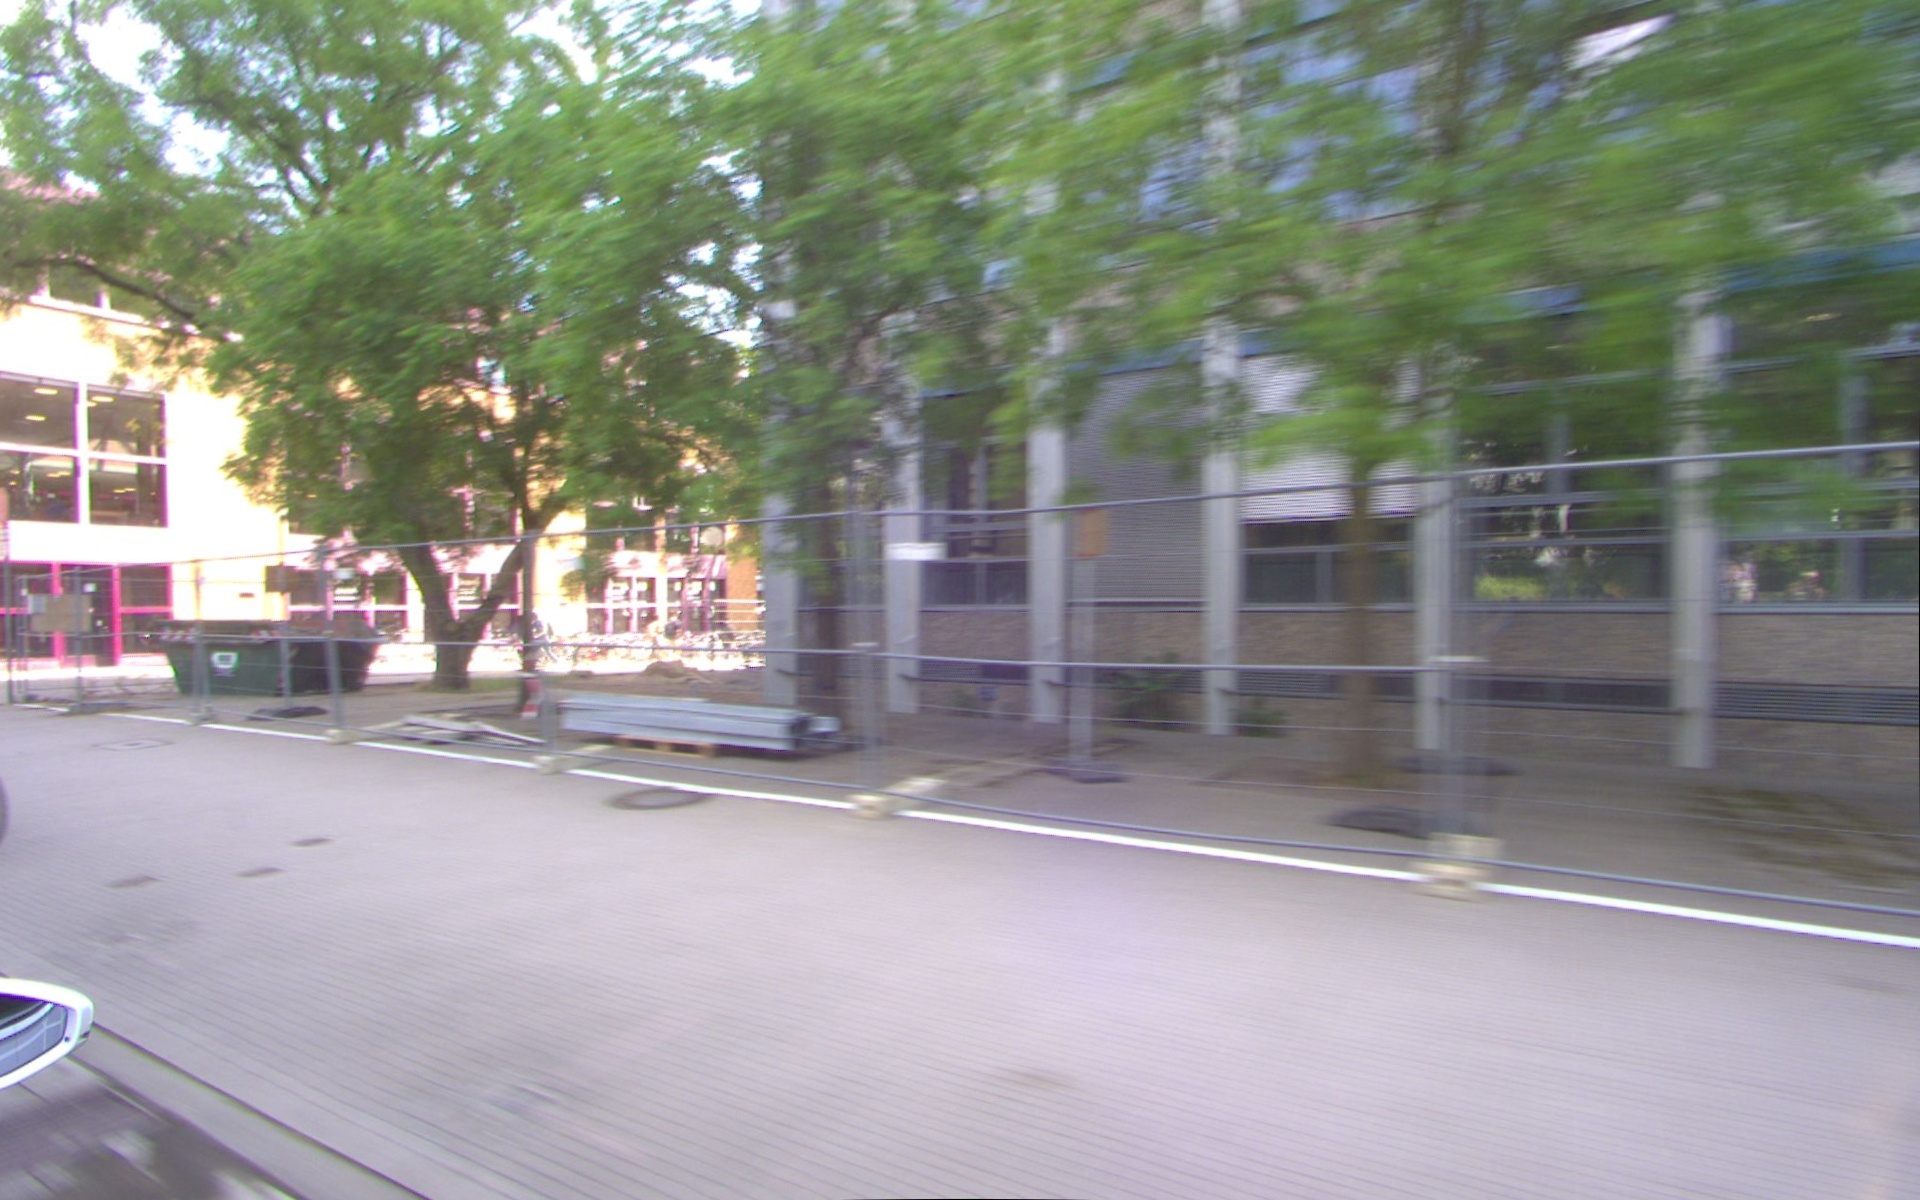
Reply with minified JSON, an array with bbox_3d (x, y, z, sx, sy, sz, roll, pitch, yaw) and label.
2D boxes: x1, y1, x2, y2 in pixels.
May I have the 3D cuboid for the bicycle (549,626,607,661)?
[{"bbox_3d":[-13.145,1.500,34.493,0.467,1.184,1.994,0,-2,31],"label":"bicycle"}]

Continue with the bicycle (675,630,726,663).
[{"bbox_3d":[-9.550,1.705,36.896,0.537,1.184,1.994,0,-2,31],"label":"bicycle"}]

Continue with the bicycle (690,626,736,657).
[{"bbox_3d":[-9.799,1.651,39.790,0.537,1.184,1.994,0,-2,31],"label":"bicycle"}]

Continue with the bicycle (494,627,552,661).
[{"bbox_3d":[-15.659,1.560,35.915,0.467,1.184,1.994,0,-2,30],"label":"bicycle"}]

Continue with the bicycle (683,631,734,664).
[{"bbox_3d":[-9.142,1.723,36.426,0.537,1.184,1.994,0,-2,31],"label":"bicycle"}]

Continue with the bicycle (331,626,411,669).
[{"bbox_3d":[-15.839,1.264,26.983,0.517,1.124,1.804,0,-1,35],"label":"bicycle"}]

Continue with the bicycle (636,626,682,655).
[{"bbox_3d":[-12.406,1.667,41.328,0.537,1.184,1.994,0,-2,31],"label":"bicycle"}]

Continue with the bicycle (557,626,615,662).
[{"bbox_3d":[-12.713,1.490,34.117,0.467,1.184,1.994,0,-2,31],"label":"bicycle"}]

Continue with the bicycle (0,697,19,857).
[{"bbox_3d":[-6.568,1.084,6.359,1.707,0.949,0.394,0,2,32],"label":"bicycle"}]

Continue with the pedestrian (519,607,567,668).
[{"bbox_3d":[-11.828,1.051,28.400,0.695,1.672,1.040,-1,-1,39],"label":"pedestrian"}]

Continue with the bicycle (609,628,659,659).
[{"bbox_3d":[-12.739,1.682,39.192,0.537,1.184,1.994,0,-2,31],"label":"bicycle"}]

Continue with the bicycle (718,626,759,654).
[{"bbox_3d":[-9.664,1.743,43.818,0.537,1.184,1.994,0,-2,31],"label":"bicycle"}]

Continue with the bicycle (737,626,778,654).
[{"bbox_3d":[-8.727,1.733,43.325,0.537,1.184,1.994,0,-2,31],"label":"bicycle"}]

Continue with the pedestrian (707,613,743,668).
[{"bbox_3d":[-7.751,1.318,32.993,0.674,1.750,0.901,-3,-1,27],"label":"pedestrian"}]

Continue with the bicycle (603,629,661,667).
[{"bbox_3d":[-10.823,1.574,33.071,0.467,1.184,1.994,0,-2,31],"label":"bicycle"}]

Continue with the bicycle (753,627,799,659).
[{"bbox_3d":[-7.047,1.645,38.384,0.537,1.184,1.994,0,-2,31],"label":"bicycle"}]

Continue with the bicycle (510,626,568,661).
[{"bbox_3d":[-14.853,1.534,35.398,0.467,1.184,1.994,0,-2,30],"label":"bicycle"}]

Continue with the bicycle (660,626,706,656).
[{"bbox_3d":[-11.315,1.668,40.927,0.537,1.184,1.994,0,-2,31],"label":"bicycle"}]

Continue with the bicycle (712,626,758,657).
[{"bbox_3d":[-8.842,1.641,39.439,0.537,1.184,1.994,0,-2,31],"label":"bicycle"}]

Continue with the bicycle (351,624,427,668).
[{"bbox_3d":[-14.970,1.192,26.284,0.468,1.124,1.689,0,-1,35],"label":"bicycle"}]

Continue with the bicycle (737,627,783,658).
[{"bbox_3d":[-7.693,1.636,38.643,0.537,1.184,1.994,0,-2,31],"label":"bicycle"}]

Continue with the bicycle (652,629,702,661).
[{"bbox_3d":[-10.678,1.686,37.852,0.537,1.184,1.994,0,-2,31],"label":"bicycle"}]

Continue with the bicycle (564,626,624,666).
[{"bbox_3d":[-11.352,1.415,31.085,0.468,1.184,1.801,0,-2,35],"label":"bicycle"}]

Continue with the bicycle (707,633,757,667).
[{"bbox_3d":[-8.283,1.812,36.448,0.537,1.184,1.994,0,-2,31],"label":"bicycle"}]

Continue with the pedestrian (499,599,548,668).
[{"bbox_3d":[-11.392,0.860,26.136,0.674,1.750,0.901,-3,-1,27],"label":"pedestrian"}]

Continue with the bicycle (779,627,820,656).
[{"bbox_3d":[-6.680,1.712,41.787,0.537,1.184,1.994,0,-2,31],"label":"bicycle"}]

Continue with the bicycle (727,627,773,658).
[{"bbox_3d":[-8.162,1.645,38.967,0.537,1.184,1.994,0,-2,31],"label":"bicycle"}]

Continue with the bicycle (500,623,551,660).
[{"bbox_3d":[-14.143,1.352,32.647,0.465,1.184,1.810,0,-2,15],"label":"bicycle"}]

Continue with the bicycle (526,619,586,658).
[{"bbox_3d":[-12.584,1.199,31.261,0.467,1.184,1.803,0,-2,32],"label":"bicycle"}]

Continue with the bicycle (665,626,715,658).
[{"bbox_3d":[-10.114,1.568,37.555,0.537,1.184,1.994,0,-2,31],"label":"bicycle"}]

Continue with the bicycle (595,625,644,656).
[{"bbox_3d":[-13.473,1.613,39.643,0.537,1.184,1.995,0,-2,28],"label":"bicycle"}]

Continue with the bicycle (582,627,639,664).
[{"bbox_3d":[-11.720,1.524,33.639,0.467,1.184,1.994,0,-2,31],"label":"bicycle"}]

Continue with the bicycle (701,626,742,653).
[{"bbox_3d":[-10.568,1.757,44.503,0.537,1.184,1.994,0,-2,31],"label":"bicycle"}]

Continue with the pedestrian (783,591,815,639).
[{"bbox_3d":[-6.014,0.544,37.516,0.677,1.750,0.897,-3,-1,42],"label":"pedestrian"}]

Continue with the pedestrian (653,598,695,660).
[{"bbox_3d":[-8.278,0.846,28.993,0.674,1.750,0.901,-3,-1,27],"label":"pedestrian"}]

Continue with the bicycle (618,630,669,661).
[{"bbox_3d":[-12.196,1.742,38.635,0.537,1.184,1.994,0,-2,31],"label":"bicycle"}]

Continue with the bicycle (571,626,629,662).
[{"bbox_3d":[-12.187,1.482,33.982,0.467,1.184,1.994,0,-2,31],"label":"bicycle"}]

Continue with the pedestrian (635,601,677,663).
[{"bbox_3d":[-8.926,0.932,29.406,0.674,1.750,0.901,-3,-1,27],"label":"pedestrian"}]

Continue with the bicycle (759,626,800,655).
[{"bbox_3d":[-7.660,1.724,42.609,0.537,1.184,1.994,0,-2,31],"label":"bicycle"}]

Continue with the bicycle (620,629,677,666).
[{"bbox_3d":[-10.215,1.540,32.889,0.467,1.184,1.994,0,-2,31],"label":"bicycle"}]

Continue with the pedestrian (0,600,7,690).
[{"bbox_3d":[-18.194,0.833,18.451,0.581,1.672,0.848,-1,-1,39],"label":"pedestrian"}]

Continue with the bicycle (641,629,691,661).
[{"bbox_3d":[-11.170,1.718,38.106,0.537,1.184,1.994,0,-2,31],"label":"bicycle"}]

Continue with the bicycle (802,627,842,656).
[{"bbox_3d":[-5.704,1.718,41.446,0.537,1.184,1.994,0,-2,31],"label":"bicycle"}]
